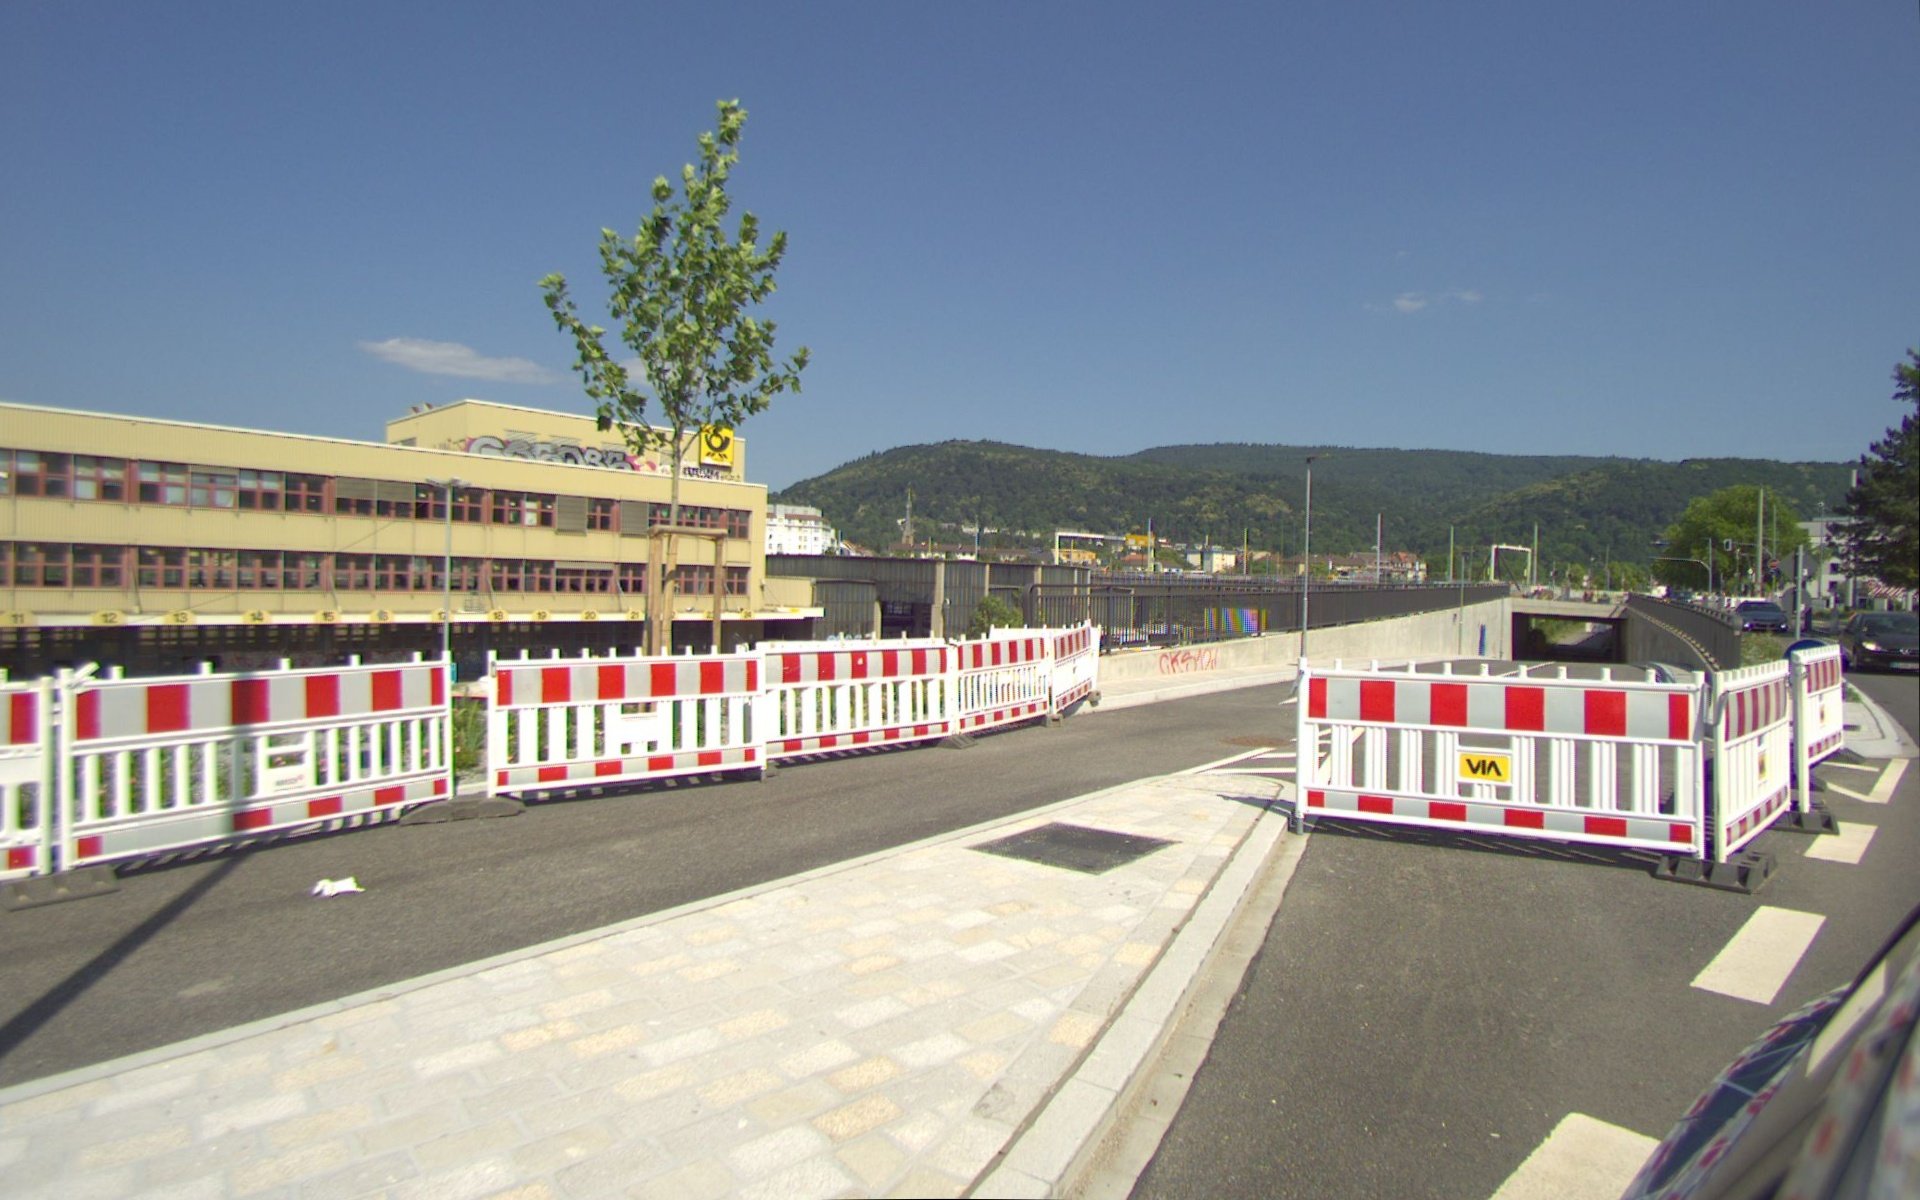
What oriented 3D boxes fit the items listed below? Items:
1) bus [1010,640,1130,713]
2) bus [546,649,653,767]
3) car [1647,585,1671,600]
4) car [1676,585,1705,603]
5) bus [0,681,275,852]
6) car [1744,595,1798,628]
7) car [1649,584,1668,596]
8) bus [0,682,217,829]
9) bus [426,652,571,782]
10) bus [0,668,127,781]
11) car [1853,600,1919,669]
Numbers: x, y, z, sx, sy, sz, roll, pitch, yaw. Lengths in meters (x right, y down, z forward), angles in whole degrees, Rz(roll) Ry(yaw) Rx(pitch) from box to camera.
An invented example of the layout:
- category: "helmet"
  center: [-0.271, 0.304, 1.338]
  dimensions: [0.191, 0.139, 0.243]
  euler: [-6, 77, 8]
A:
- category: "bus"
  center: [7.444, 4.776, 66.029]
  dimensions: [2.532, 3.575, 12.396]
  euler: [0, 1, 33]
- category: "bus"
  center: [-18.090, 5.031, 52.147]
  dimensions: [2.610, 3.810, 17.511]
  euler: [0, 1, -11]
- category: "car"
  center: [70.855, -0.781, 102.599]
  dimensions: [1.605, 1.459, 3.730]
  euler: [1, 2, 29]
- category: "car"
  center: [63.580, -0.510, 88.108]
  dimensions: [1.606, 1.459, 3.728]
  euler: [1, 2, 30]
- category: "bus"
  center: [-27.701, 5.083, 31.003]
  dimensions: [2.623, 3.810, 13.102]
  euler: [0, 1, 11]
- category: "car"
  center: [38.936, 0.520, 48.650]
  dimensions: [1.608, 1.459, 3.724]
  euler: [1, 2, 33]
- category: "car"
  center: [90.881, -1.319, 131.739]
  dimensions: [1.605, 1.459, 3.730]
  euler: [1, 2, 29]
- category: "bus"
  center: [-31.291, 5.256, 33.002]
  dimensions: [2.623, 3.810, 13.102]
  euler: [0, 1, 11]
- category: "bus"
  center: [-21.294, 4.983, 48.036]
  dimensions: [2.609, 3.810, 17.163]
  euler: [0, 1, -12]
- category: "bus"
  center: [-37.841, 4.973, 37.081]
  dimensions: [2.620, 3.810, 13.119]
  euler: [0, 1, 7]
- category: "car"
  center: [22.573, 0.781, 24.152]
  dimensions: [1.611, 1.459, 3.657]
  euler: [2, 2, 37]
